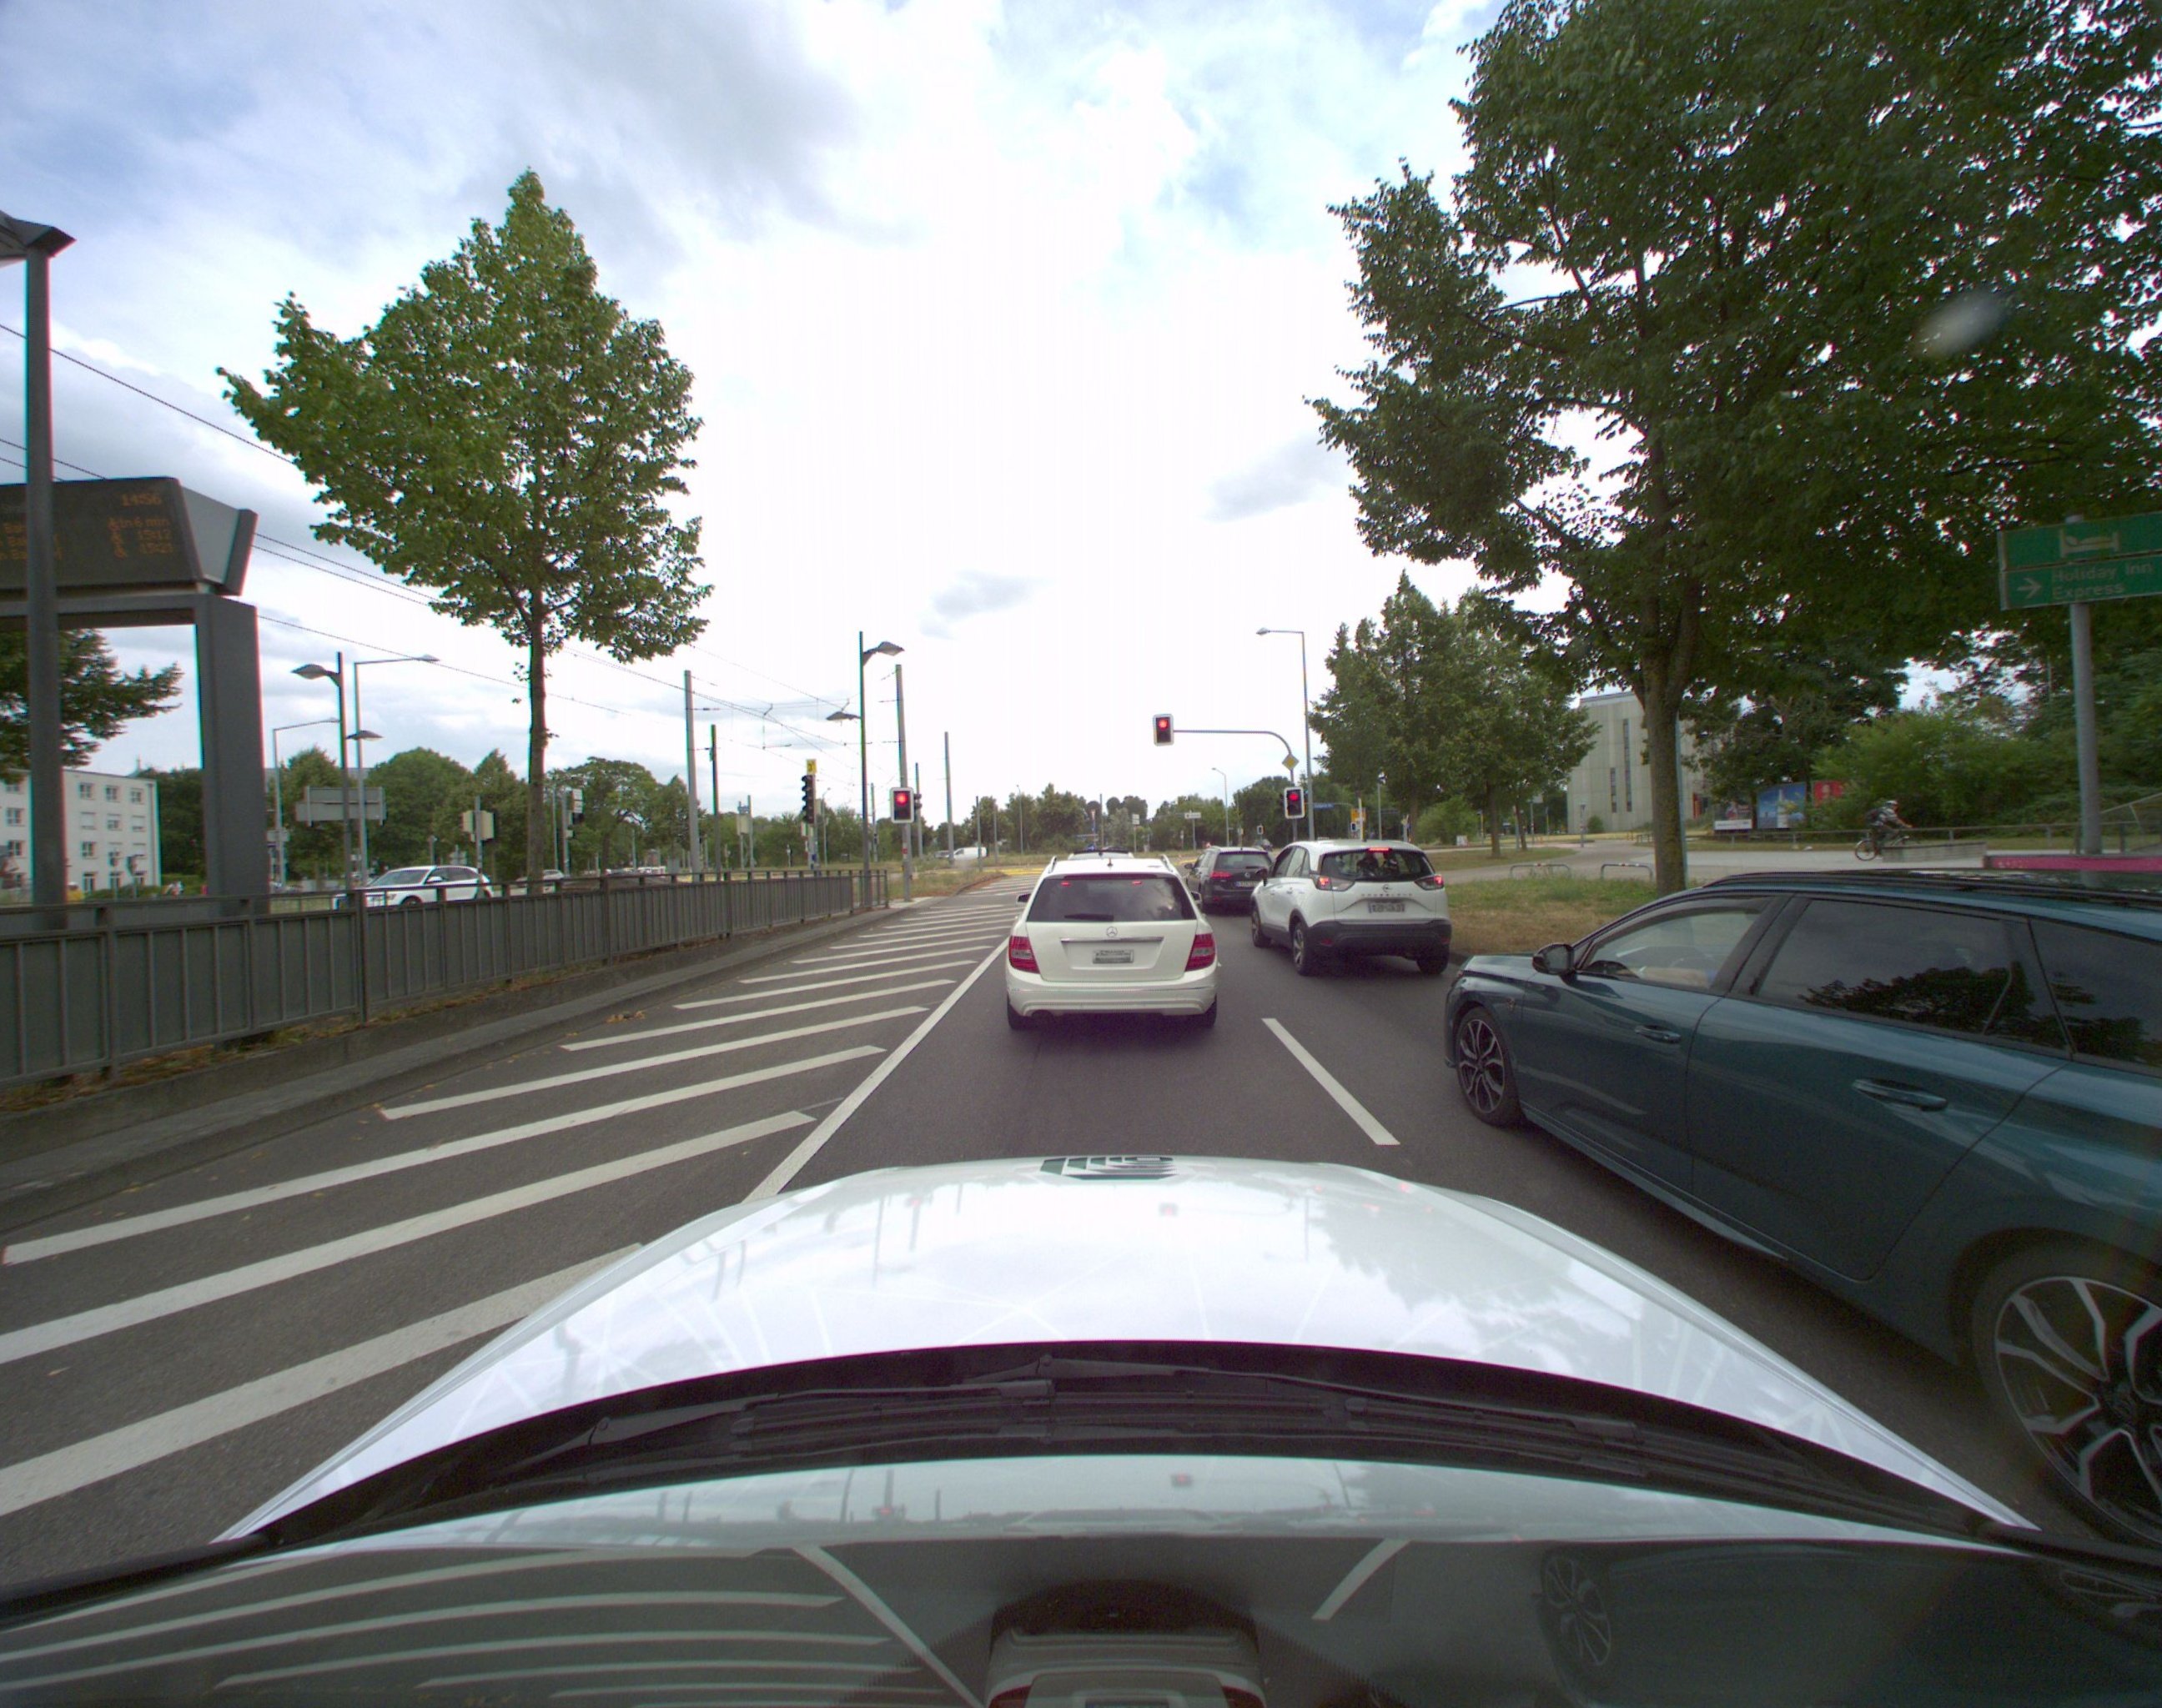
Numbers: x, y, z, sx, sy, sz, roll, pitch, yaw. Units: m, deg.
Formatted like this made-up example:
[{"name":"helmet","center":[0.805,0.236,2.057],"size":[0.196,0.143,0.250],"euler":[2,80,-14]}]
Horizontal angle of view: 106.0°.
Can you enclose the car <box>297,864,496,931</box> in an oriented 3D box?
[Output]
[{"name":"car","center":[-19.911,1.196,23.992],"size":[1.986,1.618,4.387],"euler":[-2,0,2]}]

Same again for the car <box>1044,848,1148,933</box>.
[{"name":"car","center":[0.259,0.613,15.960],"size":[1.768,1.448,3.910],"euler":[-1,0,0]}]

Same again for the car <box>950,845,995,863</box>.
[{"name":"car","center":[-13.026,-0.004,97.711],"size":[4.994,2.013,1.989],"euler":[-2,0,-16]}]

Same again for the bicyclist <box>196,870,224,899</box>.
[{"name":"bicyclist","center":[-49.379,1.721,46.160],"size":[0.895,1.562,0.742],"euler":[-2,0,-34]}]

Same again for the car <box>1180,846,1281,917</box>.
[{"name":"car","center":[3.353,0.563,18.878],"size":[1.619,1.448,3.910],"euler":[-1,0,0]}]

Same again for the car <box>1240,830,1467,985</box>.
[{"name":"car","center":[3.356,0.564,10.837],"size":[1.780,1.624,3.912],"euler":[-2,0,2]}]

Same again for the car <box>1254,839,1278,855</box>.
[{"name":"car","center":[21.925,-0.830,96.458],"size":[1.975,1.791,4.023],"euler":[0,0,24]}]

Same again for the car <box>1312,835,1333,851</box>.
[{"name":"car","center":[25.825,-1.171,87.249],"size":[1.771,1.636,4.416],"euler":[-2,1,11]}]

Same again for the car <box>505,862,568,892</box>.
[{"name":"car","center":[-47.686,1.965,71.365],"size":[1.981,1.635,4.025],"euler":[21,13,23]}]

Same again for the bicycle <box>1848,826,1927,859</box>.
[{"name":"bicycle","center":[25.566,-0.364,25.828],"size":[1.927,0.984,0.564],"euler":[-2,0,0]}]

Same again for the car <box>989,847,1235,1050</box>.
[{"name":"car","center":[0.229,0.672,7.881],"size":[1.768,1.448,3.910],"euler":[-1,0,0]}]

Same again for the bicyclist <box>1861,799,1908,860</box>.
[{"name":"bicyclist","center":[25.427,-0.761,25.793],"size":[0.726,1.885,0.734],"euler":[-2,0,1]}]

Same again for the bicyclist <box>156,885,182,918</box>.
[{"name":"bicyclist","center":[-53.159,2.749,47.485],"size":[0.835,1.834,0.775],"euler":[-2,0,-36]}]

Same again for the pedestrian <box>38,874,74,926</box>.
[{"name":"pedestrian","center":[-37.161,1.658,29.535],"size":[0.652,1.849,0.486],"euler":[-2,0,-36]}]

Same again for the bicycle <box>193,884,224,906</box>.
[{"name":"bicycle","center":[-49.305,2.300,46.036],"size":[0.813,1.129,2.676],"euler":[-2,1,-39]}]

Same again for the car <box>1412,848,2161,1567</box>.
[{"name":"car","center":[3.054,0.710,3.057],"size":[1.782,1.432,4.308],"euler":[-1,1,-1]}]
